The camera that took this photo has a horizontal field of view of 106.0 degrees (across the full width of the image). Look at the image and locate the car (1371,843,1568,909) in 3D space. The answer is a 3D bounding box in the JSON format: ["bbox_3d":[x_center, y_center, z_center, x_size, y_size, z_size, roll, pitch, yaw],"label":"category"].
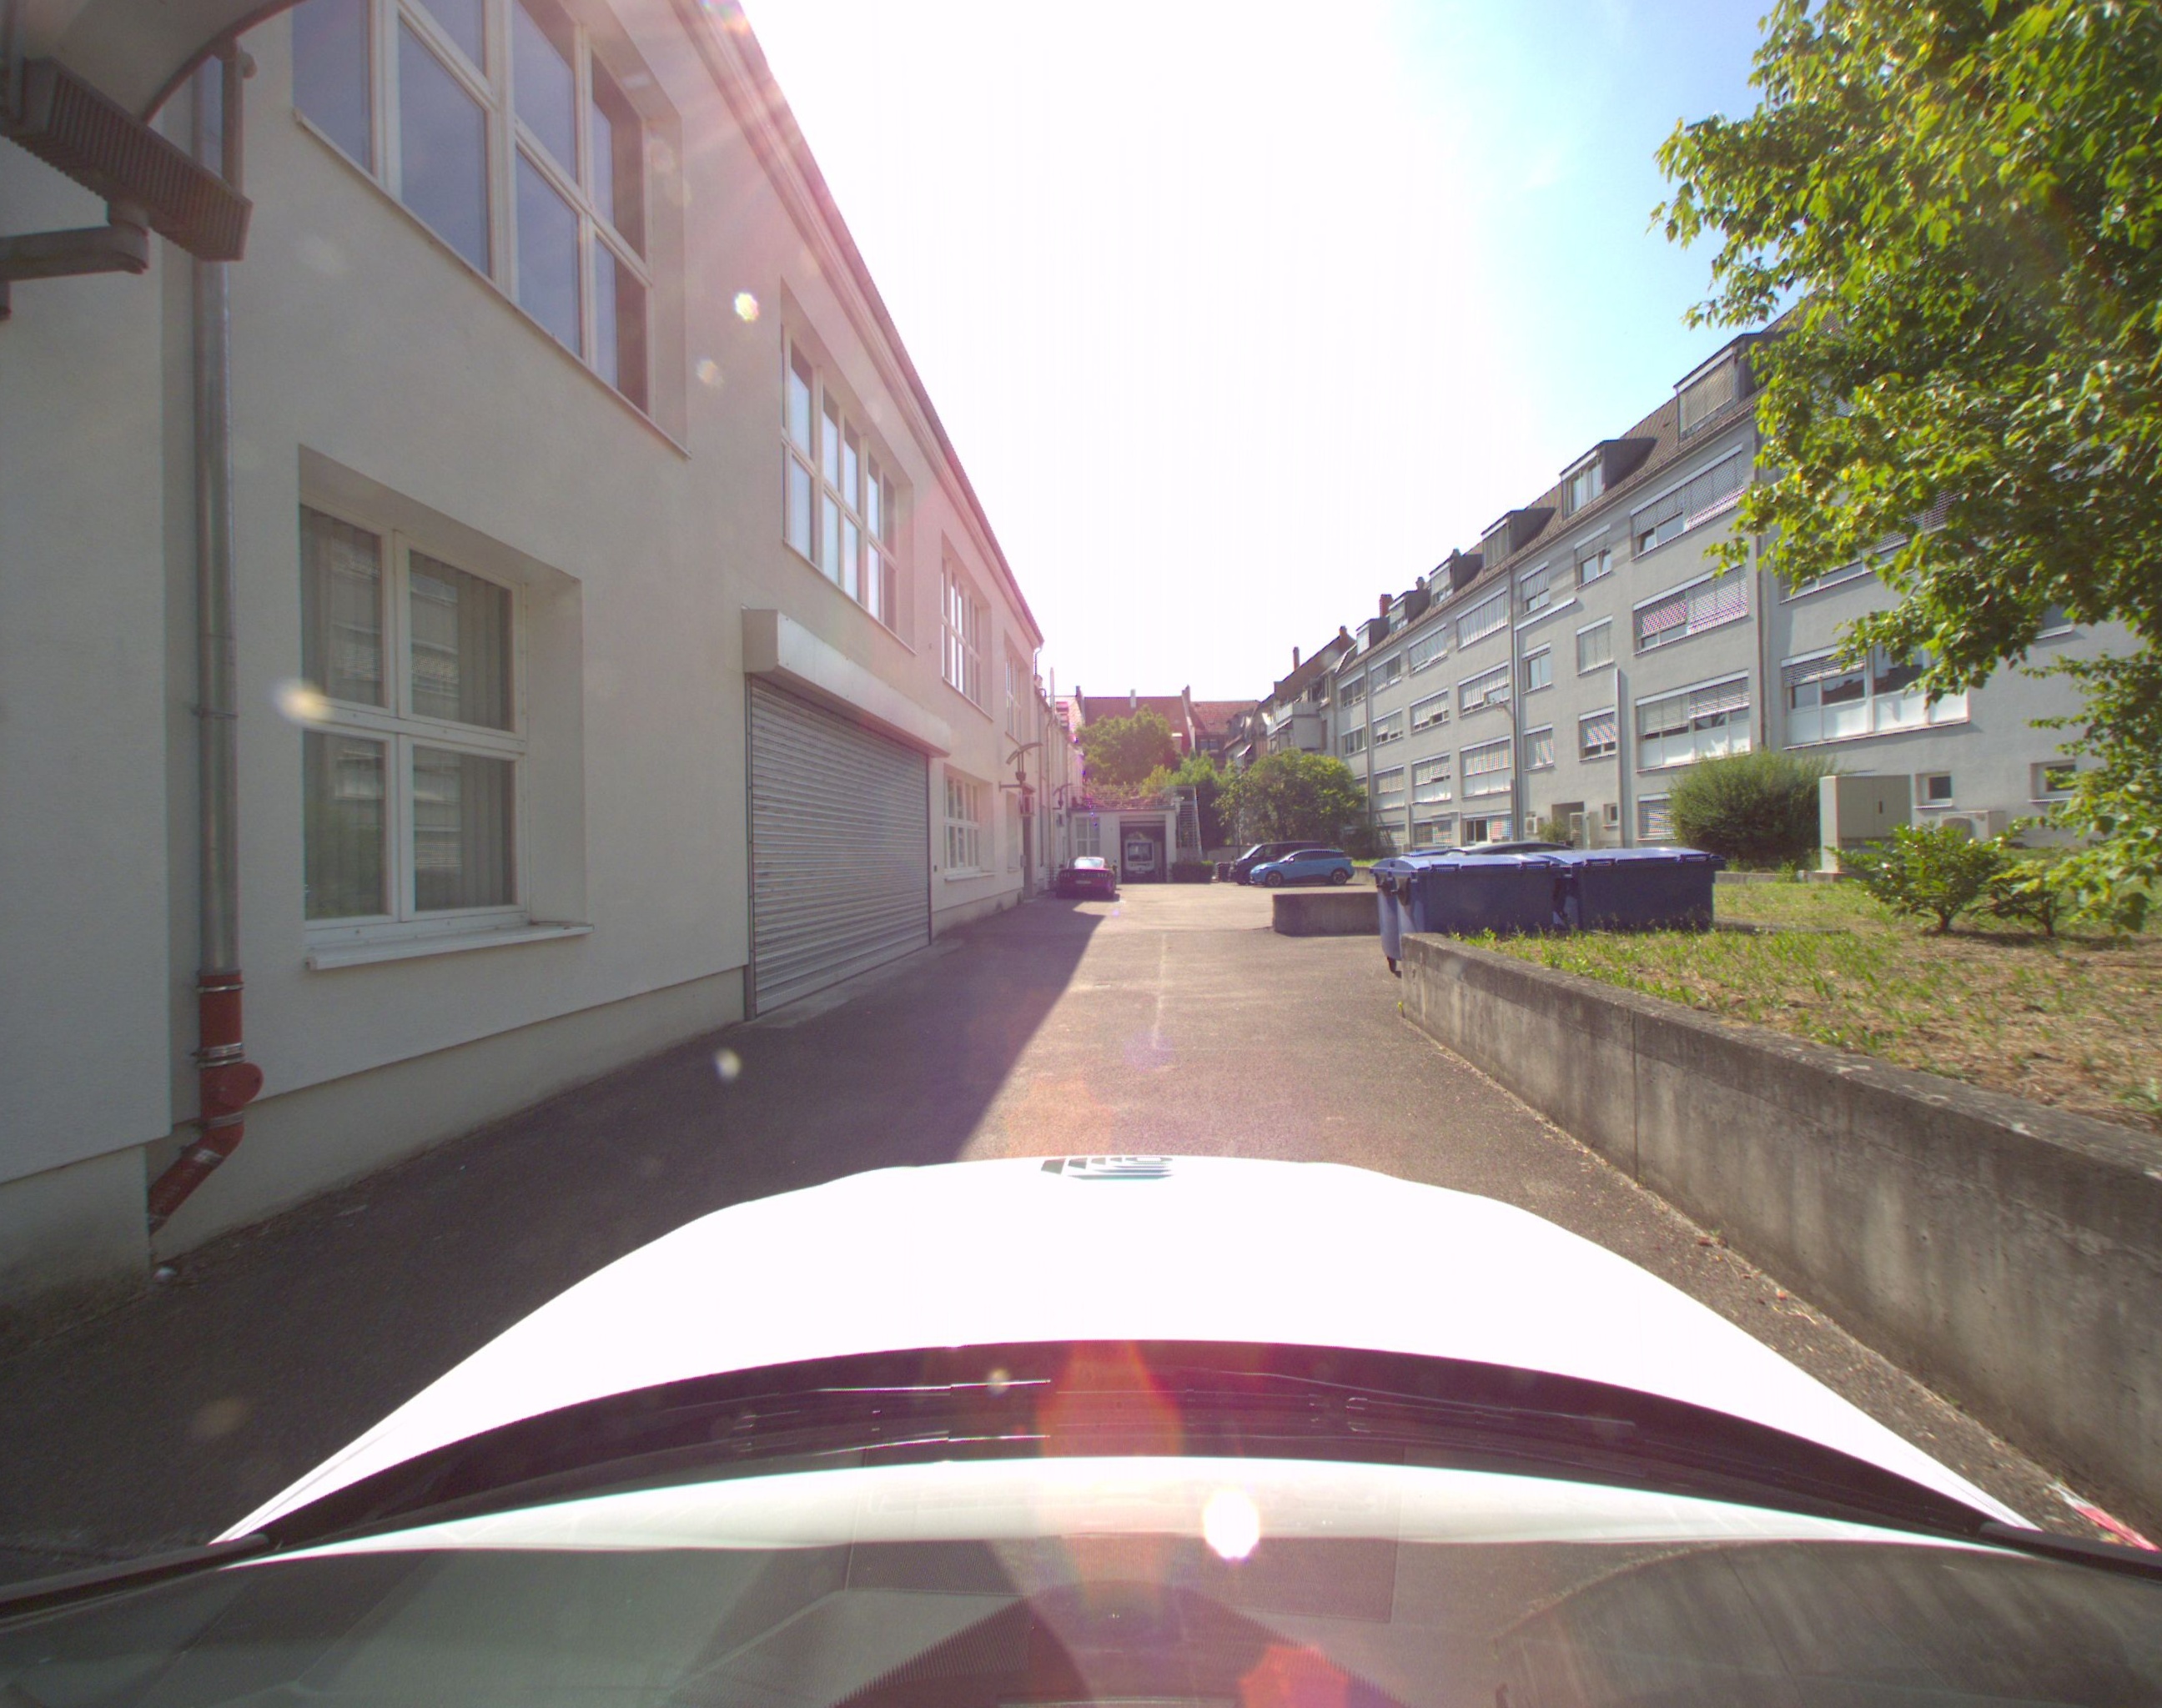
[{"bbox_3d":[9.310,0.508,19.758,3.969,1.394,1.691,-2,0,4],"label":"car"}]

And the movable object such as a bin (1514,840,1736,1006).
[{"bbox_3d":[4.792,0.578,7.306,1.240,1.340,1.144,-2,0,7],"label":"movable object such as a bin"}]

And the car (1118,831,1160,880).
[{"bbox_3d":[3.444,0.131,47.677,2.164,2.607,6.743,-2,-1,5],"label":"car"}]

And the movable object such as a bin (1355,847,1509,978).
[{"bbox_3d":[3.926,0.623,9.228,1.243,1.355,1.129,-2,0,1],"label":"movable object such as a bin"}]

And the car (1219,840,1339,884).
[{"bbox_3d":[9.126,0.357,37.672,4.949,1.767,2.091,-2,1,-8],"label":"car"}]

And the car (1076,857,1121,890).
[{"bbox_3d":[0.795,0.798,34.879,1.606,1.295,3.764,-2,0,5],"label":"car"}]

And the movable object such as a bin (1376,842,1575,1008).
[{"bbox_3d":[3.502,0.612,7.388,1.241,1.319,1.144,-4,-2,6],"label":"movable object such as a bin"}]

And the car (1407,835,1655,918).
[{"bbox_3d":[8.909,0.433,16.378,3.972,1.427,1.812,-2,0,1],"label":"car"}]

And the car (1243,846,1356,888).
[{"bbox_3d":[9.154,0.520,34.406,4.214,1.532,2.000,-2,1,1],"label":"car"}]

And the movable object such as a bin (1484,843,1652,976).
[{"bbox_3d":[5.334,0.578,9.013,1.151,1.336,1.142,-2,0,1],"label":"movable object such as a bin"}]

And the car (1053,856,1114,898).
[{"bbox_3d":[0.171,0.746,28.004,1.844,1.319,4.004,0,0,4],"label":"car"}]
